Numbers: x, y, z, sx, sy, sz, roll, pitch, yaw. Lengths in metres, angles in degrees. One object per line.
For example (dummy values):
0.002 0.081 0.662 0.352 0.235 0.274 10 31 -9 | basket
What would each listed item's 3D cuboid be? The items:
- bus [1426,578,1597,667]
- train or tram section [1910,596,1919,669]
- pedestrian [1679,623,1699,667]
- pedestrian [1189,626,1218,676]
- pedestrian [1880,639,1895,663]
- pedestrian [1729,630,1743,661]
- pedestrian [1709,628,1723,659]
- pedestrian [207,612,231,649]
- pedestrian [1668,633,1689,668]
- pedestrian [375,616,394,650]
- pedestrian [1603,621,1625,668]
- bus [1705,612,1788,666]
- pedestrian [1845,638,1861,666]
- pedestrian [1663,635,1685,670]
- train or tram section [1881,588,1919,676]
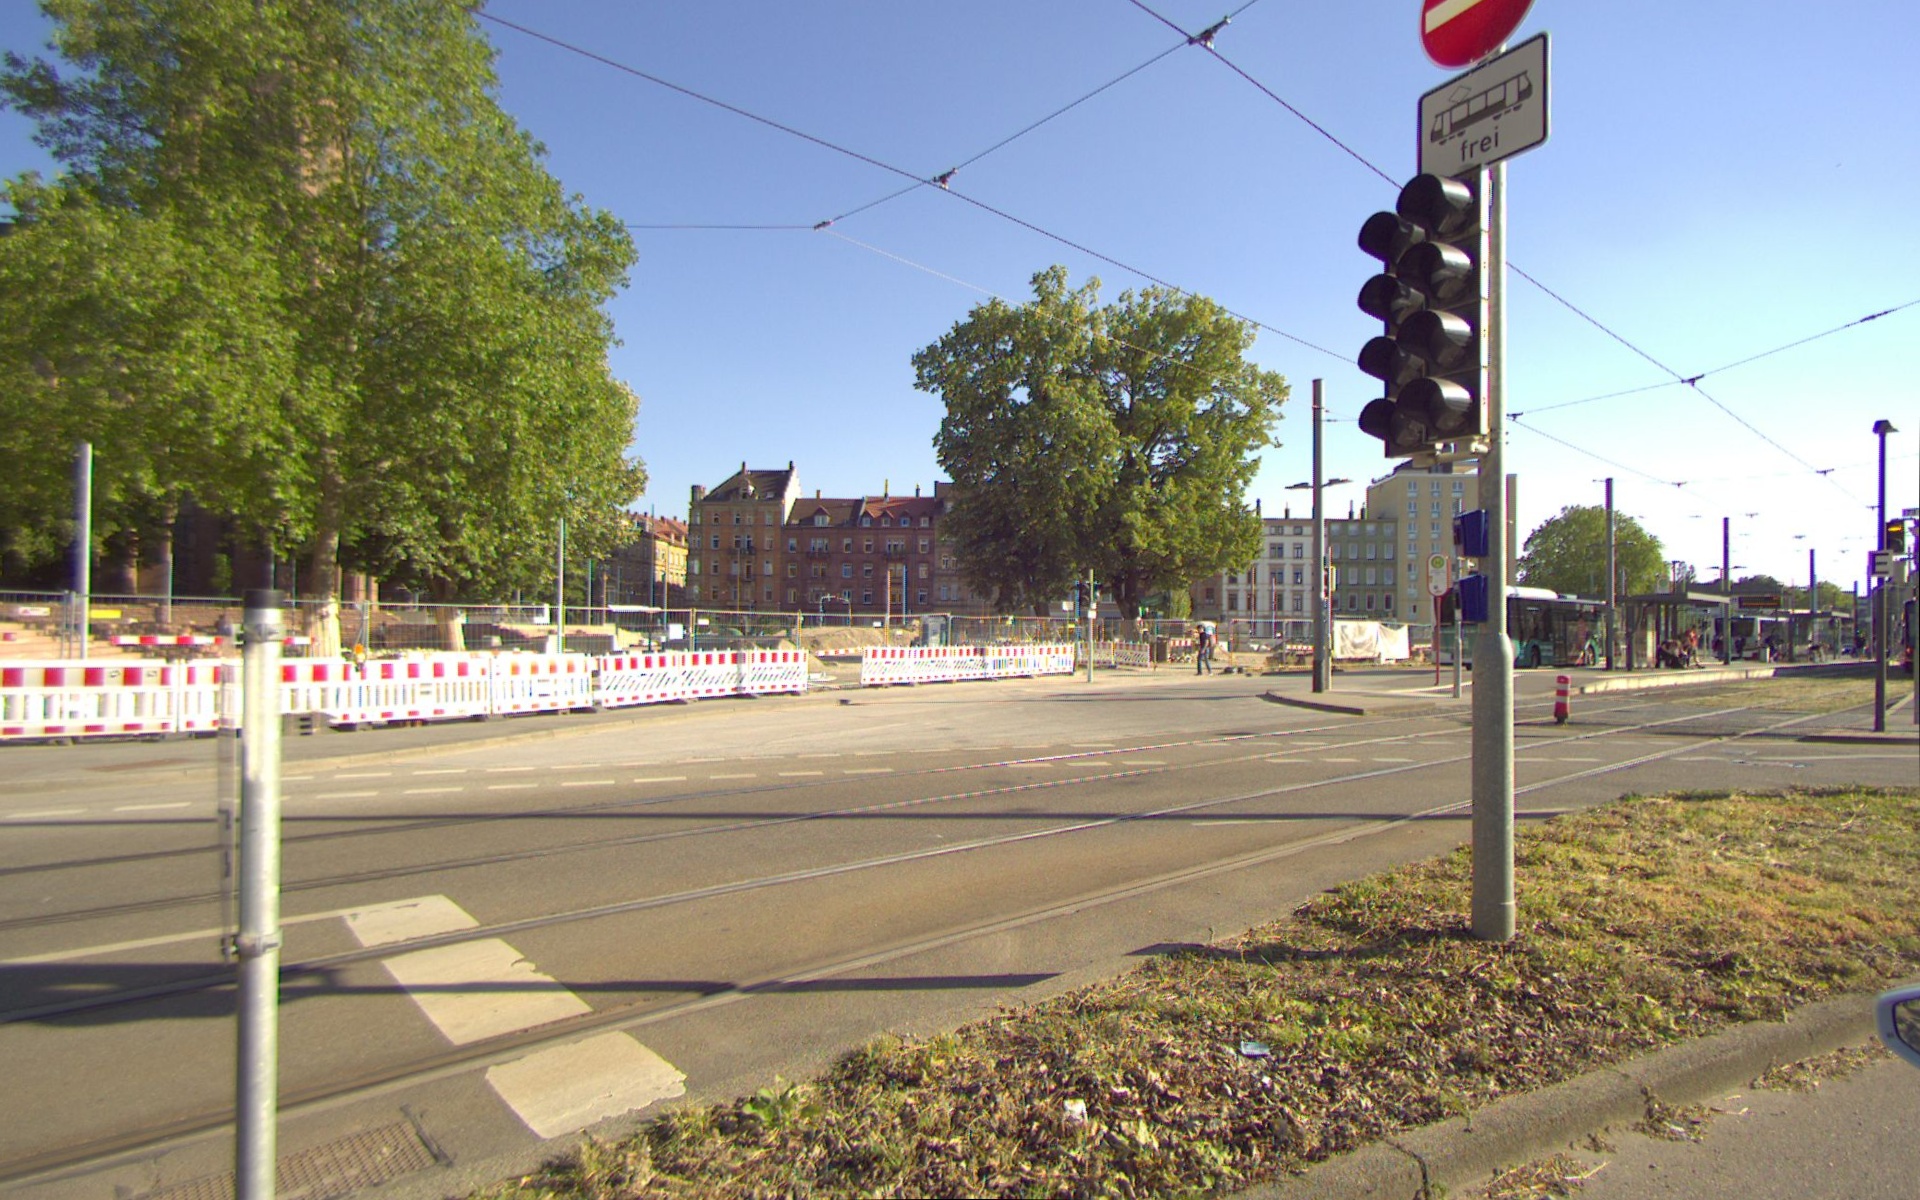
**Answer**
22.000 0.903 39.750 9.564 3.177 2.631 2 0 -40 | bus
53.892 1.823 53.781 12.100 3.644 2.987 2 0 -40 | train or tram section
29.561 1.814 40.728 0.564 1.772 0.636 -1 -2 43 | pedestrian
8.523 1.790 35.151 0.699 1.719 0.899 -1 -4 33 | pedestrian
71.230 3.909 77.169 0.634 1.772 0.728 2 -2 -37 | pedestrian
44.700 2.636 57.842 0.564 1.772 0.636 -1 -2 41 | pedestrian
43.321 2.499 57.559 0.629 1.772 0.570 -1 -2 34 | pedestrian
-33.621 1.394 45.593 0.665 1.669 0.635 1 -1 -18 | pedestrian
28.182 1.986 39.408 0.564 1.363 0.636 -1 -2 43 | pedestrian
-28.753 1.645 50.170 0.751 1.669 0.671 1 -1 -26 | pedestrian
25.141 1.704 38.613 0.554 1.772 0.534 2 -2 -35 | pedestrian
53.961 2.635 68.749 13.376 3.317 2.694 2 0 -44 | bus
55.856 3.239 62.814 0.629 1.772 0.570 -1 -2 34 | pedestrian
27.673 2.022 38.932 0.609 1.358 0.438 -1 -2 44 | pedestrian
44.755 1.495 45.827 12.108 3.644 2.855 2 0 -42 | train or tram section
